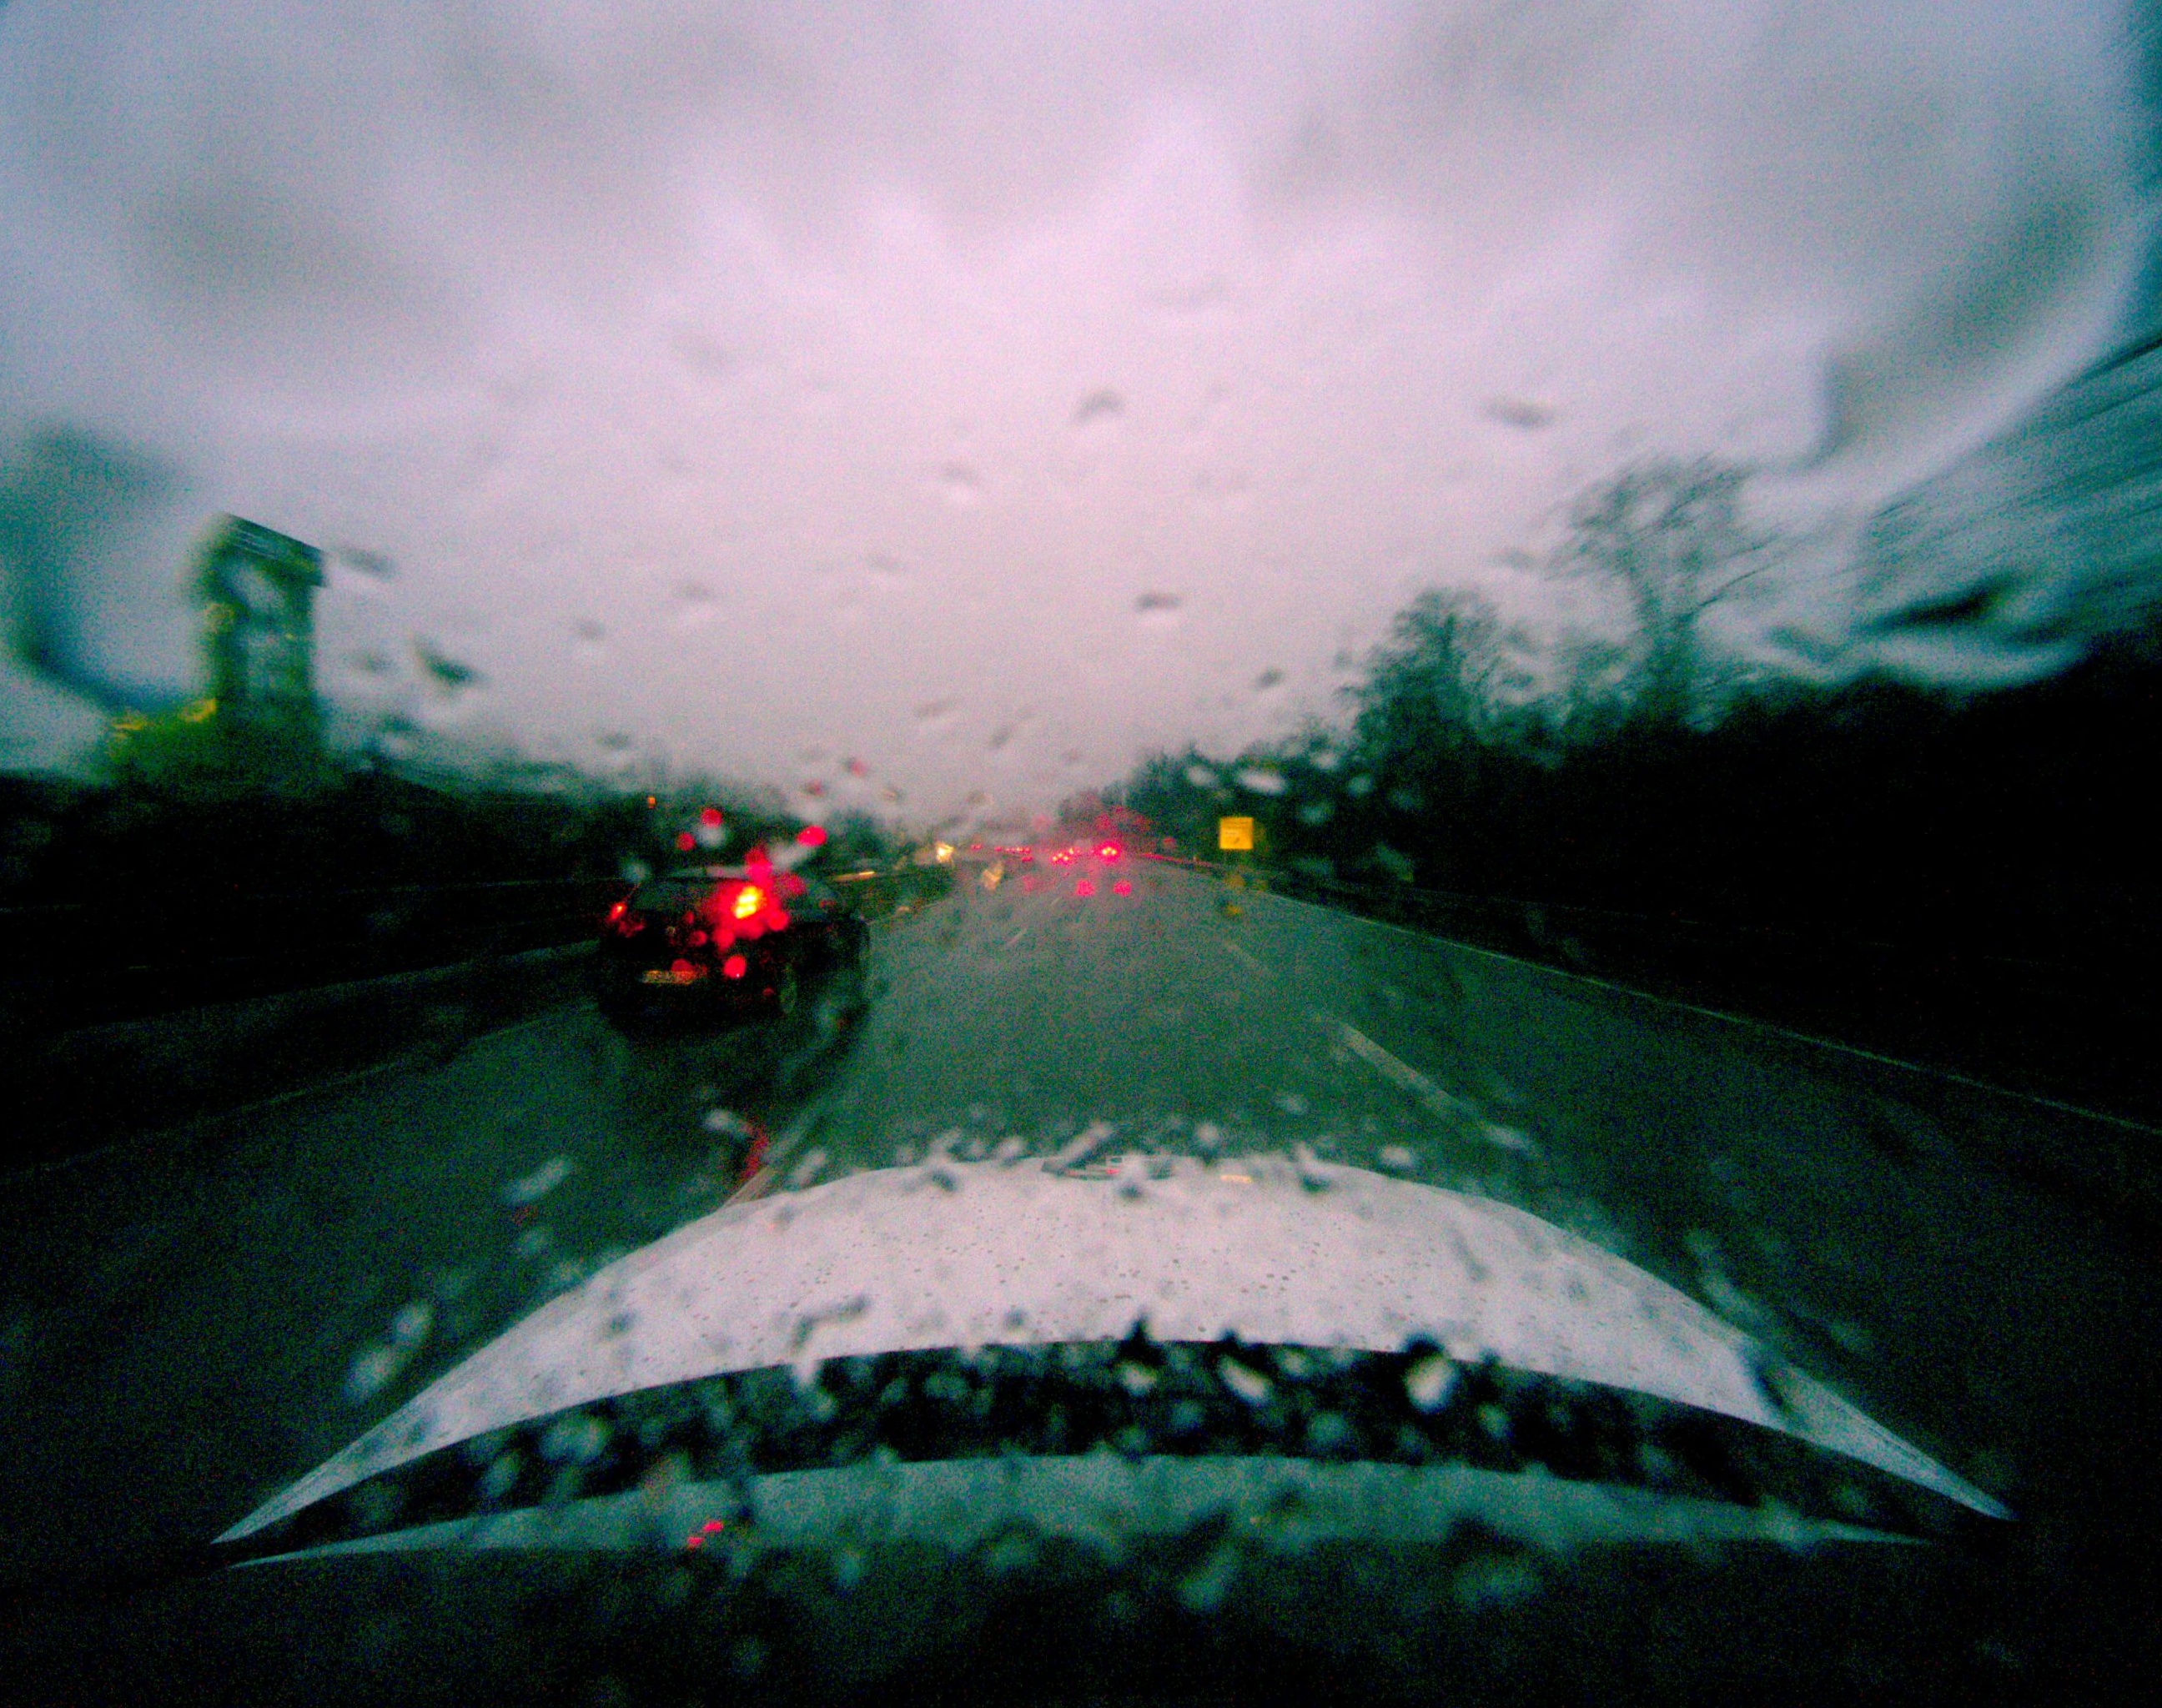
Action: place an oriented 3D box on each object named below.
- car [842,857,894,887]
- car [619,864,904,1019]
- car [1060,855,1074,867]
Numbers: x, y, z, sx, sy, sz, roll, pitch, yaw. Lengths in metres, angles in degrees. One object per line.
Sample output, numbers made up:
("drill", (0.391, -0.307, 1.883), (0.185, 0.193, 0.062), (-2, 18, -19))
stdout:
("car", (-11.997, 0.979, 46.071), (1.757, 1.626, 4.525), (-1, 0, 0))
("car", (-3.354, 0.820, 9.438), (1.620, 1.392, 4.001), (1, -1, 1))
("car", (-1.523, 0.758, 92.135), (1.410, 1.317, 3.084), (1, 0, 2))
